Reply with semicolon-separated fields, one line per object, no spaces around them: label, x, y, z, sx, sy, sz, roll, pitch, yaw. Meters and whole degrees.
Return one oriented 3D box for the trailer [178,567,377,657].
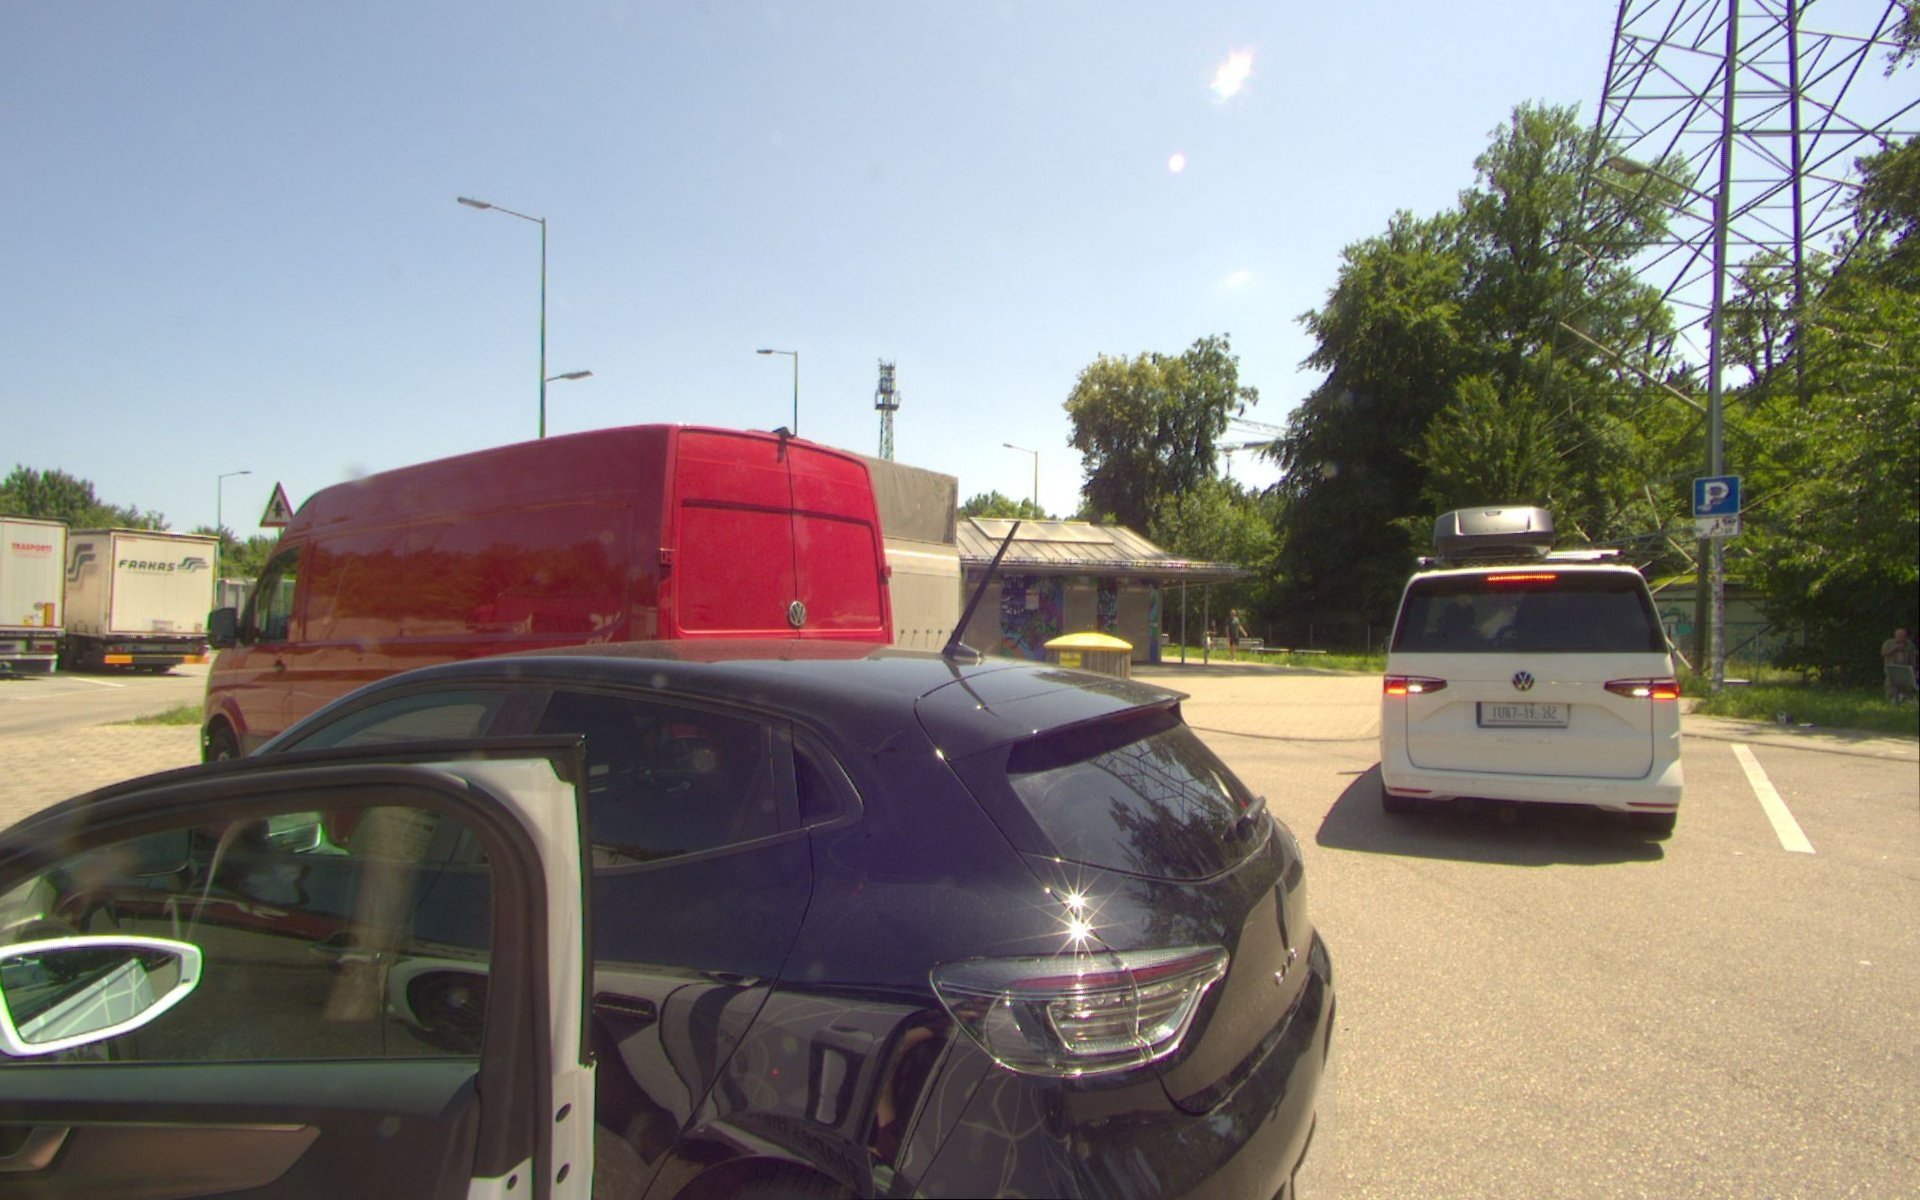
trailer;-32.384;0.469;47.140;13.530;3.764;2.834;1;-2;34

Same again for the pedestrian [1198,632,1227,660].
pedestrian;8.909;1.627;35.317;0.638;0.960;0.773;1;-2;-36

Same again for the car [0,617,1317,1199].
car;-1.061;0.832;2.906;3.757;1.501;1.736;0;-1;27

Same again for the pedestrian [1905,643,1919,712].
pedestrian;17.191;1.351;17.476;0.876;1.192;0.666;-1;-2;32

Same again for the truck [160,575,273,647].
truck;-37.693;0.551;50.739;5.405;3.407;2.847;1;-2;34

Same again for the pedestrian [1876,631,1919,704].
pedestrian;18.707;1.319;19.868;0.660;1.422;0.647;-1;-1;33

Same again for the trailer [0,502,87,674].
trailer;-28.968;-0.381;28.148;13.523;4.185;2.835;1;-2;33

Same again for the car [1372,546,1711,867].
car;4.700;0.698;8.507;1.882;1.937;4.548;-1;-1;27

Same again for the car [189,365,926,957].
car;-3.353;0.306;7.357;6.310;2.731;2.060;0;-1;37

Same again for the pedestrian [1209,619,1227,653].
pedestrian;11.950;1.673;46.395;0.635;1.547;0.564;0;-1;-19

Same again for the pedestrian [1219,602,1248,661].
pedestrian;9.684;1.104;35.448;0.638;2.067;0.773;1;-1;-36

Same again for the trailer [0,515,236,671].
trailer;-27.659;-0.203;31.629;13.523;4.185;2.835;1;-2;33

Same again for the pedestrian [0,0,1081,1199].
pedestrian;-0.417;0.590;0.947;0.878;1.865;0.618;-1;-1;35

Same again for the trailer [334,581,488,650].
trailer;-36.048;0.895;65.433;13.530;4.101;2.833;1;-2;34
